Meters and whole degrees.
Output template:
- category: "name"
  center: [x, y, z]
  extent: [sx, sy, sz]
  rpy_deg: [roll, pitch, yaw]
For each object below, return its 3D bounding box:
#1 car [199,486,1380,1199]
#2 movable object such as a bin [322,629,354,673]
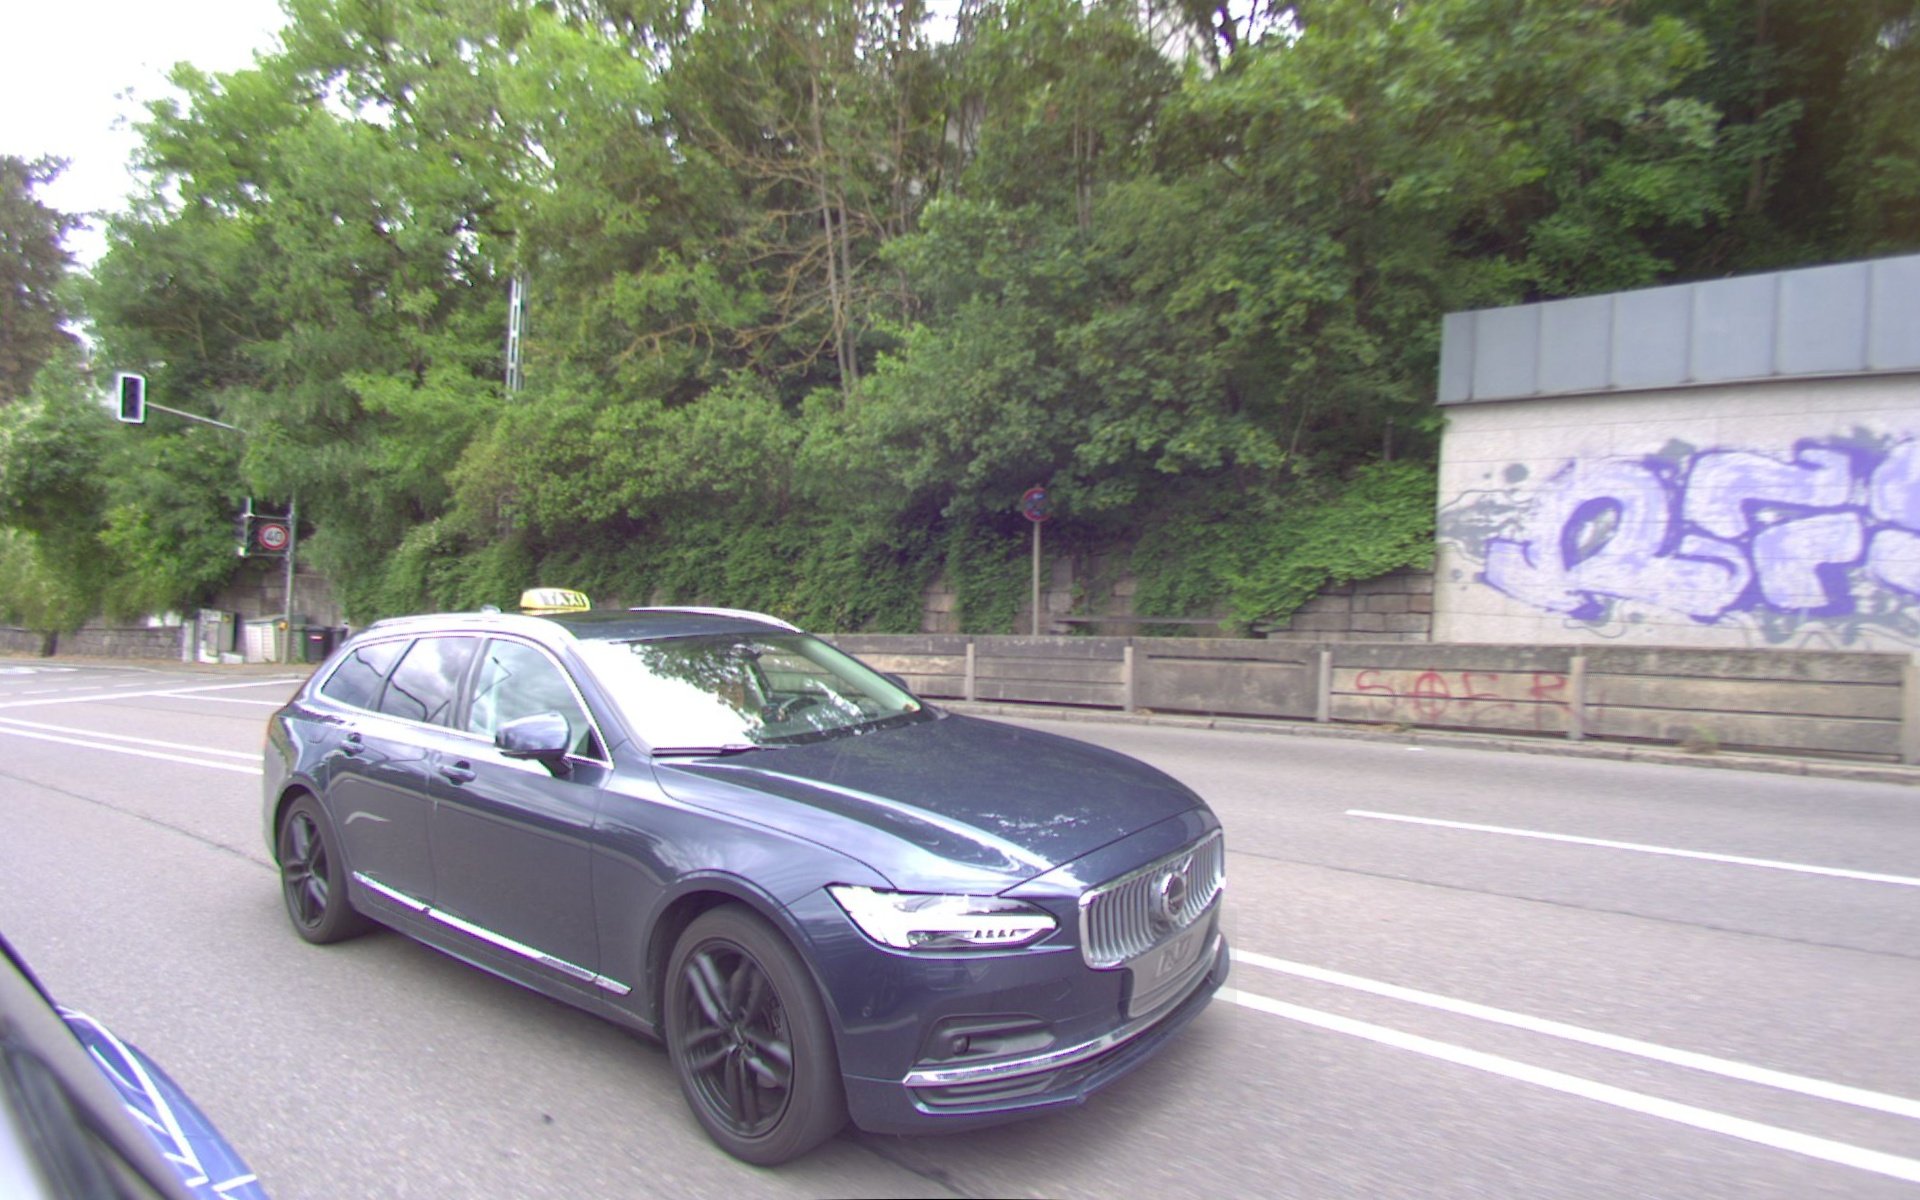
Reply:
- category: "car"
  center: [-1.158, 0.588, 4.186]
  extent: [5.020, 1.588, 1.917]
  rpy_deg: [-1, 1, 38]
- category: "movable object such as a bin"
  center: [-14.130, 1.154, 22.992]
  extent: [0.477, 0.957, 0.424]
  rpy_deg: [-1, 1, 31]
